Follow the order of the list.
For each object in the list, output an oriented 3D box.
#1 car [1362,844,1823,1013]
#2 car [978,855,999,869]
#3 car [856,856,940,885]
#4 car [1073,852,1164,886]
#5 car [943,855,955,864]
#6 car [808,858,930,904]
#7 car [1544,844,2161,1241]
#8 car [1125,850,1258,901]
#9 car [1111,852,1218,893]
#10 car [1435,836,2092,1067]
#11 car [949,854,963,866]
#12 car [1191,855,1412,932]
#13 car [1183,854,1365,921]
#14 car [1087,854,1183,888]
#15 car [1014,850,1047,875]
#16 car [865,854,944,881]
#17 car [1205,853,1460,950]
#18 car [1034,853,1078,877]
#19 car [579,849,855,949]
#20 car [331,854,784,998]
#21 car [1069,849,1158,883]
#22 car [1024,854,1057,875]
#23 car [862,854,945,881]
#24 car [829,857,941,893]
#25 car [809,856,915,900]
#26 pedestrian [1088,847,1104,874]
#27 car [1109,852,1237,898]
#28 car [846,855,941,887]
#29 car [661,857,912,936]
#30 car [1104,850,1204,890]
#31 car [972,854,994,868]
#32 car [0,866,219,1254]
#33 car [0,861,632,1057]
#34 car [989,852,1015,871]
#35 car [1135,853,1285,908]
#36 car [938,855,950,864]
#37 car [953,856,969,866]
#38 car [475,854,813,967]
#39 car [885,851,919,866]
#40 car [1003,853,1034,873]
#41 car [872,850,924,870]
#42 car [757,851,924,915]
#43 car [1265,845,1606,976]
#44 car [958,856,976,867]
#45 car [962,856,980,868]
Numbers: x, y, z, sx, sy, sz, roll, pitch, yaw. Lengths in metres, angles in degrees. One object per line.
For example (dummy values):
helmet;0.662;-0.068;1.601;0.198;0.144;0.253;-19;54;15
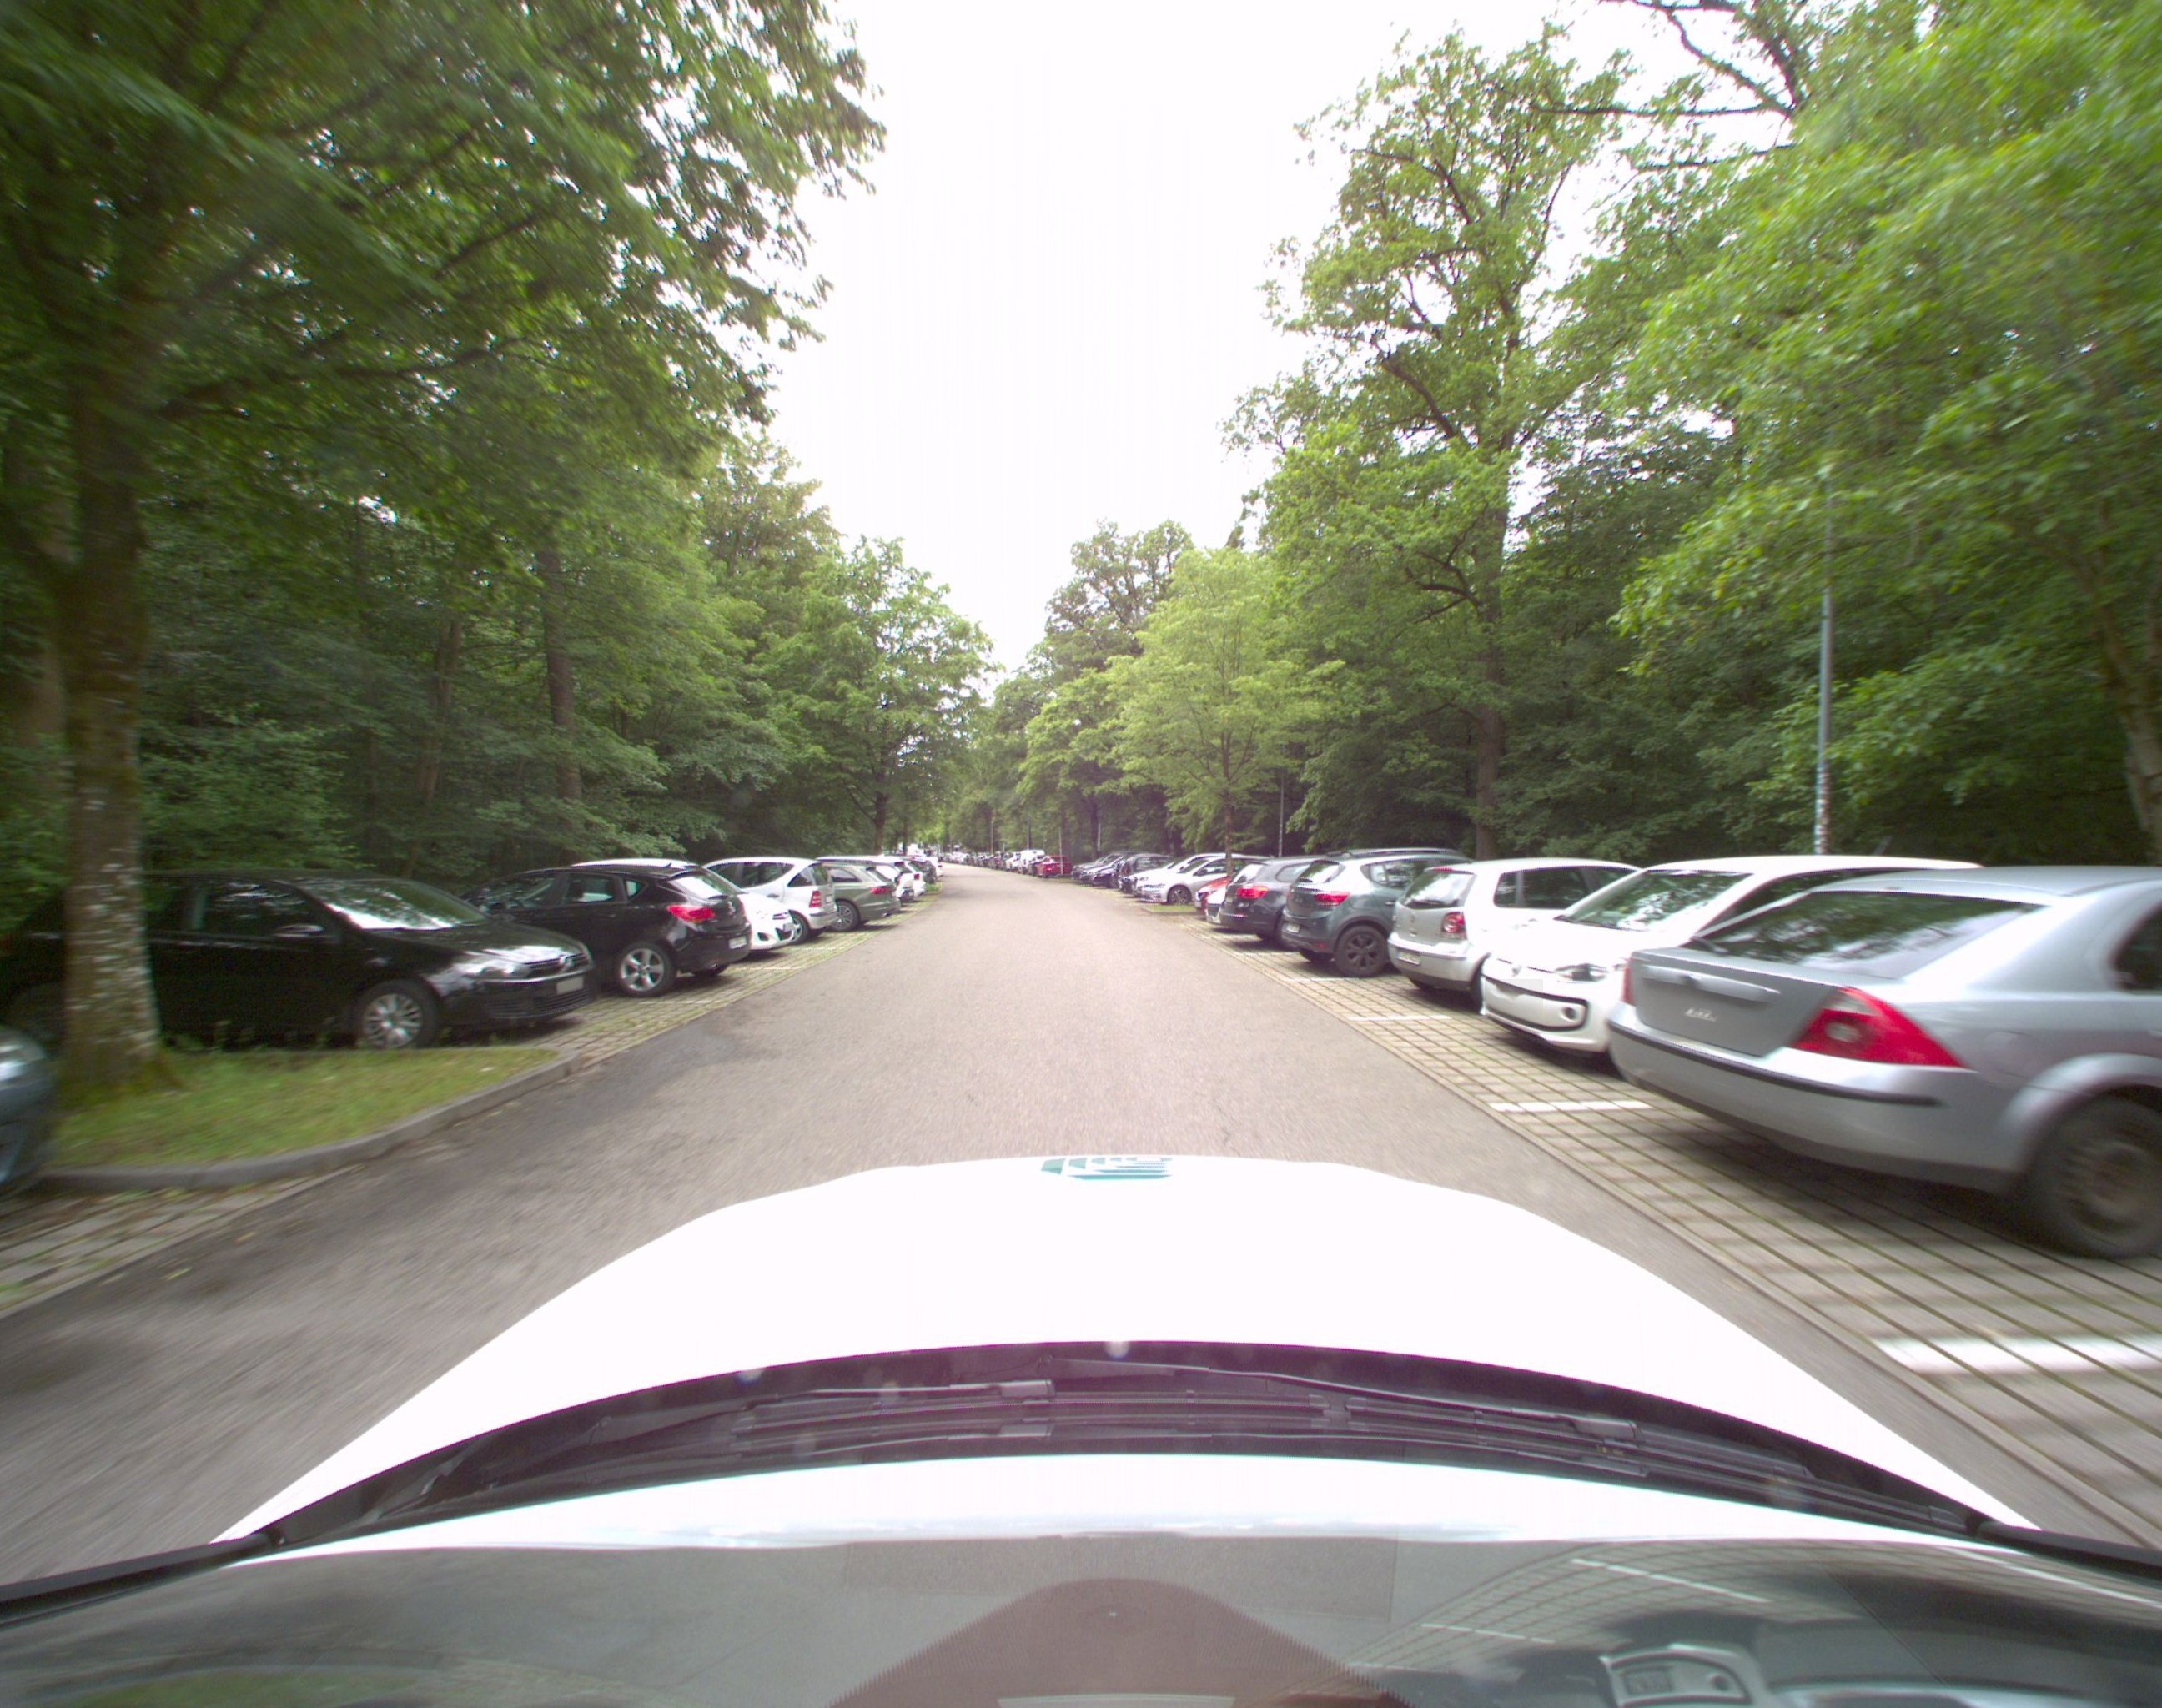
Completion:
car;5.169;0.693;8.565;3.834;1.546;1.728;0;0;-3
car;-10.221;0.829;89.733;1.640;1.477;4.129;0;0;-16
car;-9.955;0.881;44.421;4.372;1.486;1.883;-1;-1;-14
car;1.775;0.688;39.111;3.993;1.551;1.966;0;0;-15
car;-21.957;0.956;135.465;1.713;1.509;3.981;0;0;-14
car;-7.050;0.869;27.426;3.722;1.419;1.868;-1;0;-6
car;4.835;0.693;3.958;4.112;1.461;1.865;-1;-1;0
car;3.528;0.674;26.484;4.001;1.559;1.974;0;1;-5
car;3.217;0.694;31.662;3.824;1.457;1.804;-1;0;-8
car;4.976;0.651;6.342;3.691;1.511;1.750;0;-1;-1
car;-18.981;0.902;123.456;1.713;1.728;3.981;0;0;-14
car;4.352;0.743;16.444;3.925;1.411;1.875;0;1;-5
car;4.507;0.742;19.261;3.798;1.441;1.862;0;1;-13
car;2.373;0.747;36.539;3.985;1.475;1.947;0;0;-8
car;-3.865;0.625;62.167;1.746;1.780;4.531;0;0;-14
car;-10.663;0.794;49.415;4.565;1.486;1.862;-1;0;-12
car;4.157;0.746;13.798;3.764;1.481;1.770;0;1;-7
car;-1.632;0.658;51.480;1.994;1.479;4.952;0;0;-11
car;-6.577;0.772;15.165;4.228;1.647;1.966;-1;0;-6
car;-6.137;0.793;9.995;4.220;1.530;2.006;-1;0;-1
car;1.615;0.594;41.556;4.265;1.666;1.952;0;0;-10
car;-2.846;0.694;56.960;1.726;1.422;4.267;0;0;-11
car;-10.267;0.759;47.111;4.571;1.447;2.075;-1;0;-15
car;-8.198;0.856;34.484;4.401;1.424;2.030;-1;0;-8
car;-7.914;0.838;29.673;3.461;1.481;1.680;-1;0;-7
pedestrian;0.939;0.397;52.000;0.818;1.726;1.000;0;0;-12
car;3.223;0.719;28.993;4.186;1.511;1.887;0;1;-9
car;-8.996;0.795;39.425;4.263;1.486;2.052;-1;0;-8
car;-6.144;0.860;17.500;4.631;1.478;2.091;-1;0;-5
car;2.999;0.627;33.888;3.825;1.531;1.845;-1;0;-9
car;-11.503;0.826;95.416;1.981;1.537;4.599;0;0;-14
car;-6.201;0.852;3.056;3.976;1.491;1.706;-1;0;-2
car;-6.551;0.814;7.144;4.221;1.473;1.719;0;-1;-2
car;-7.724;0.706;79.460;1.892;1.747;4.925;0;0;-14
car;3.740;0.742;23.958;3.975;1.483;1.878;0;1;-9
car;-23.940;0.995;142.374;1.923;1.520;3.869;0;0;-13
car;-17.448;0.980;118.152;1.727;1.494;3.750;0;0;-19
car;-6.571;0.800;12.662;4.226;1.533;1.760;-1;0;-5
car;-22.025;0.548;100.297;3.996;1.816;2.103;-1;0;-17
car;-5.281;0.718;68.185;1.788;1.662;4.694;0;0;-14
car;-15.350;0.503;68.512;4.228;1.633;2.020;0;0;-13
car;-6.570;0.764;22.571;3.944;1.628;1.999;-1;0;2
car;4.582;0.672;10.946;3.758;1.589;1.948;0;1;-2
car;-15.782;0.966;112.516;1.940;1.475;3.971;0;0;-15
car;-14.267;1.001;105.704;1.670;1.444;3.792;0;0;-17
